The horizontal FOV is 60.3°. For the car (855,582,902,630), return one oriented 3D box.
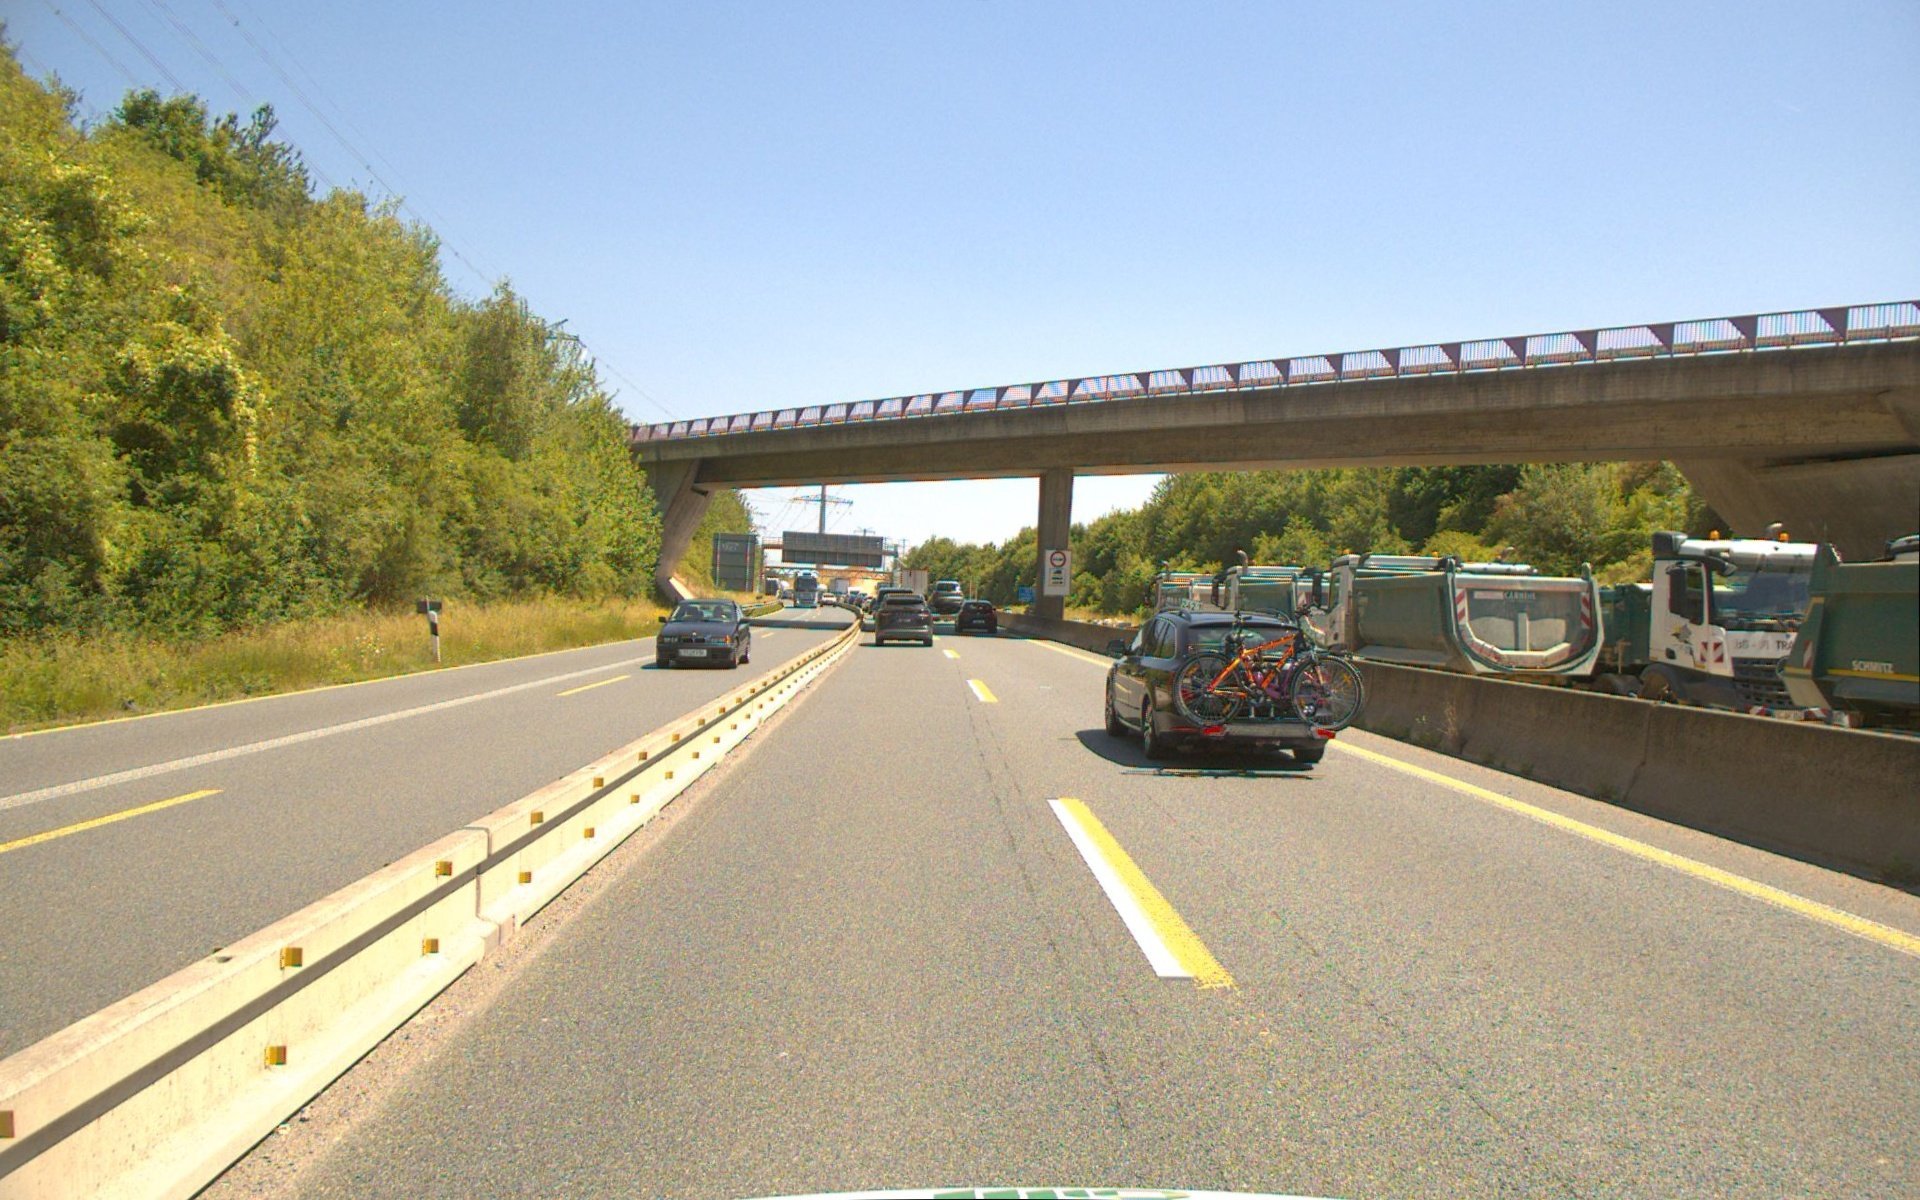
[{"bbox_3d":[-3.546,0.259,72.503,1.860,2.003,4.275,1,0,0],"label":"car"}]

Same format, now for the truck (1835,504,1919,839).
[{"bbox_3d":[12.391,0.847,16.006,2.633,3.826,9.322,1,0,-2],"label":"truck"}]

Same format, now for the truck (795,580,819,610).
[{"bbox_3d":[-17.169,-0.583,184.748,2.460,3.242,10.096,1,0,-6],"label":"truck"}]

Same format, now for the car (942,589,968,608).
[{"bbox_3d":[-0.435,-0.121,142.087,1.862,1.613,4.272,1,0,-4],"label":"car"}]

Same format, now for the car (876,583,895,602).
[{"bbox_3d":[-8.440,-0.830,187.517,1.863,2.003,4.270,1,0,-6],"label":"car"}]

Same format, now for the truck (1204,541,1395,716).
[{"bbox_3d":[8.397,0.632,42.198,2.633,3.923,9.322,1,0,-2],"label":"truck"}]

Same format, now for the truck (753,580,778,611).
[{"bbox_3d":[-21.043,-0.515,179.507,2.460,3.242,10.096,1,0,-6],"label":"truck"}]

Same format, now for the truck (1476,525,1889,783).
[{"bbox_3d":[11.750,0.764,28.198,2.633,3.619,9.321,1,0,-2],"label":"truck"}]

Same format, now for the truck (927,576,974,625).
[{"bbox_3d":[-0.584,-0.006,93.662,2.357,2.603,7.497,1,0,-2],"label":"truck"}]

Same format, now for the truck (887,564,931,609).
[{"bbox_3d":[-4.738,-1.193,152.046,3.229,3.912,10.096,1,0,-6],"label":"truck"}]

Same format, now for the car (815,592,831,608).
[{"bbox_3d":[-16.474,0.011,198.908,1.728,1.870,3.995,1,0,-6],"label":"car"}]

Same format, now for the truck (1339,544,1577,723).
[{"bbox_3d":[11.777,0.713,40.198,2.633,3.792,9.321,1,0,-2],"label":"truck"}]

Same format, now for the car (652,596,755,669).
[{"bbox_3d":[-5.384,0.657,35.170,1.640,1.418,4.069,1,0,-2],"label":"car"}]

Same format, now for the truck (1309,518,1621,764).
[{"bbox_3d":[8.953,0.638,30.733,2.633,3.826,9.322,1,0,-2],"label":"truck"}]

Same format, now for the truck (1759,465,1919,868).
[{"bbox_3d":[10.011,0.626,12.998,2.633,3.619,9.321,1,0,-2],"label":"truck"}]

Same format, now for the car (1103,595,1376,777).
[{"bbox_3d":[2.614,0.755,16.684,1.860,1.516,4.947,1,0,0],"label":"car"}]

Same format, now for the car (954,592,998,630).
[{"bbox_3d":[0.684,0.506,74.302,1.860,1.613,4.275,1,0,-1],"label":"car"}]

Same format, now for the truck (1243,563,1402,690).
[{"bbox_3d":[11.297,0.765,52.483,2.633,3.619,9.321,1,0,-2],"label":"truck"}]

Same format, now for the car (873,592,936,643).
[{"bbox_3d":[-1.734,0.538,52.641,1.860,1.531,4.275,1,0,0],"label":"car"}]

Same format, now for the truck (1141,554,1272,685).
[{"bbox_3d":[7.987,0.579,54.800,2.633,3.910,9.322,1,0,-2],"label":"truck"}]
